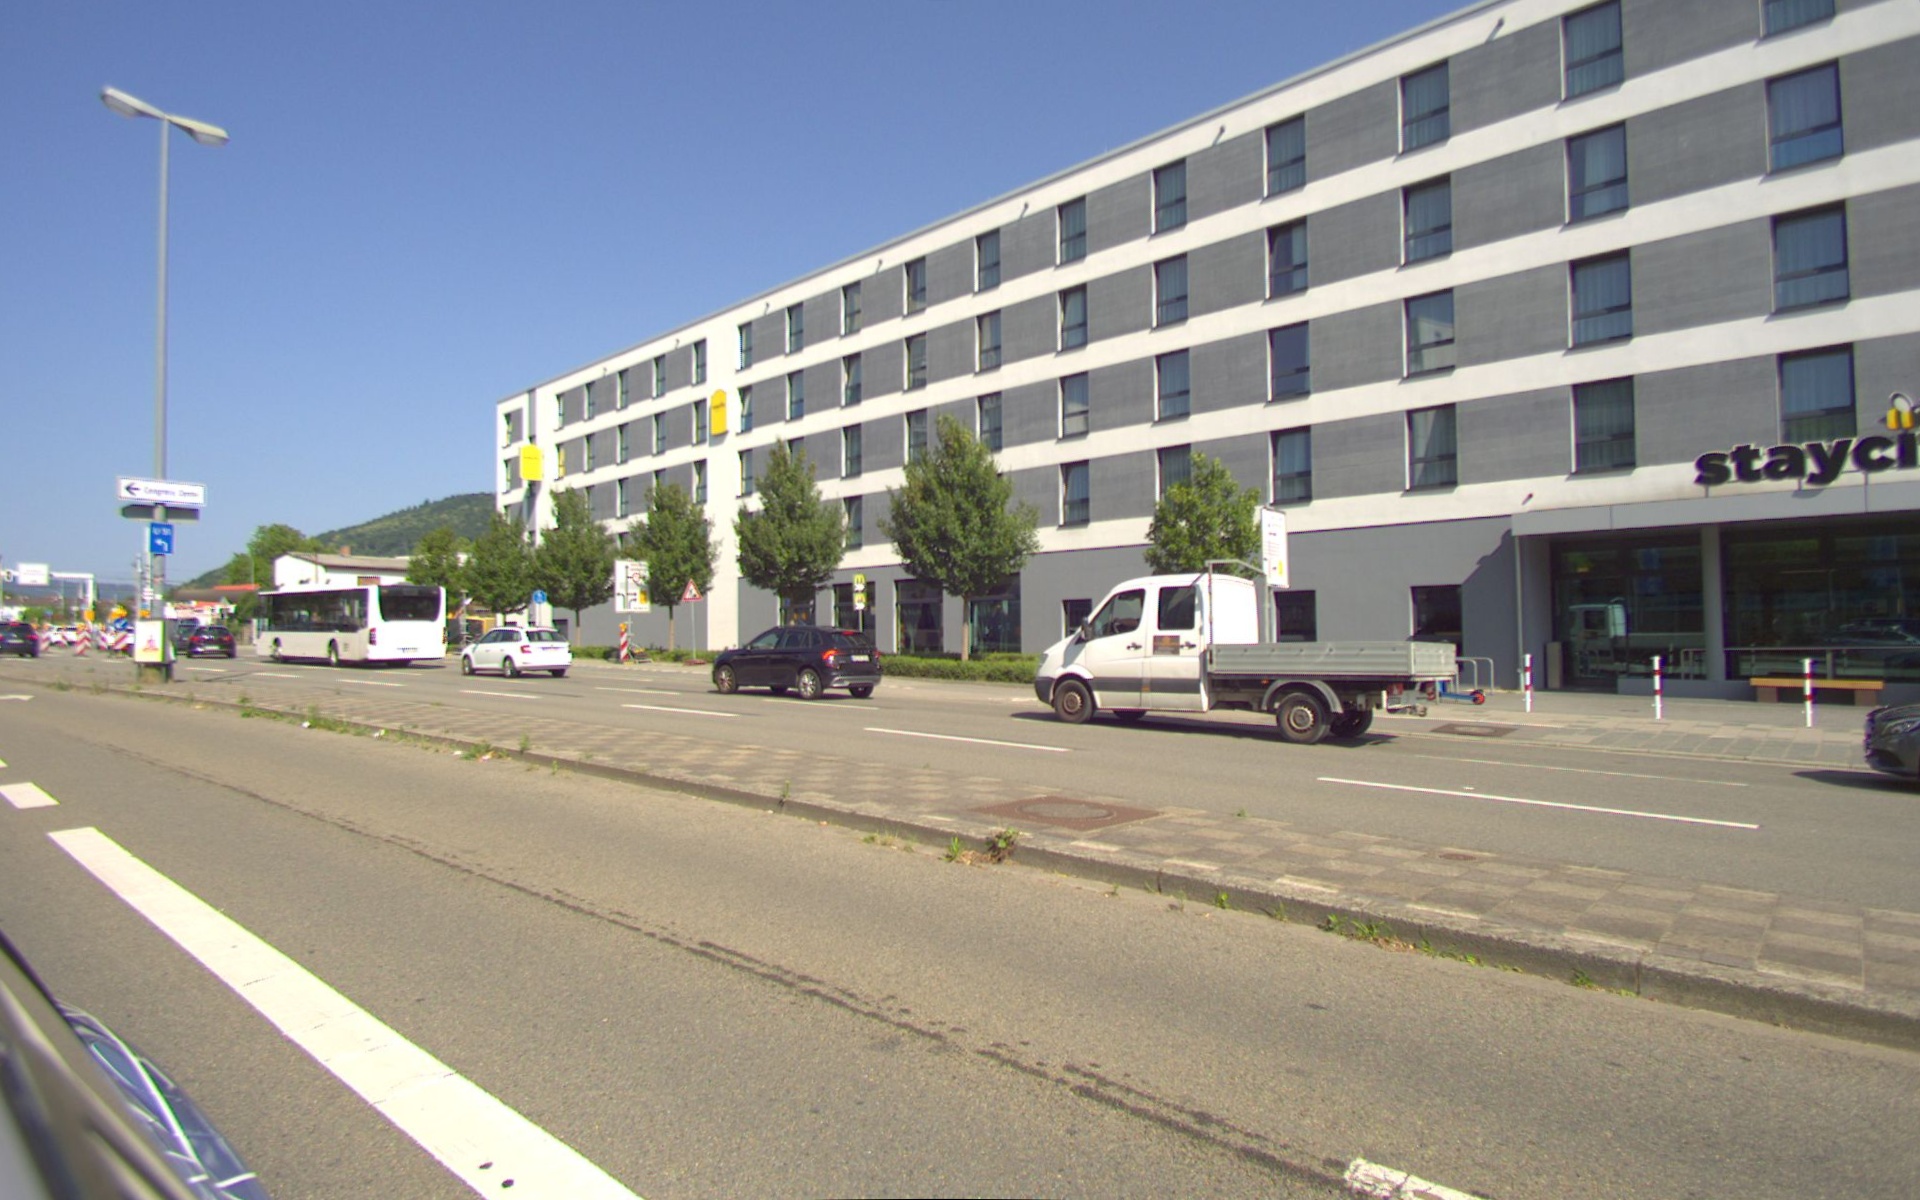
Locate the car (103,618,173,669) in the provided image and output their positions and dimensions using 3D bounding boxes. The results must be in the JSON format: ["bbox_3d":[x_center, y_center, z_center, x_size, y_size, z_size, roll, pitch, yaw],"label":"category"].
[{"bbox_3d":[-35.527,1.820,43.724,4.162,2.029,1.658,0,0,41],"label":"car"}]

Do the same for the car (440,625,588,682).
[{"bbox_3d":[-13.135,1.554,29.743,4.403,1.497,1.976,0,-4,36],"label":"car"}]

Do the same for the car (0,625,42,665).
[{"bbox_3d":[-40.767,1.900,43.288,4.135,1.630,1.864,-2,-2,43],"label":"car"}]

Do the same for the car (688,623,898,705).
[{"bbox_3d":[-3.690,1.344,22.055,4.404,1.590,1.976,-1,-4,36],"label":"car"}]

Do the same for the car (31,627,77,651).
[{"bbox_3d":[-64.136,2.764,71.640,3.584,1.631,1.699,-1,-1,36],"label":"car"}]

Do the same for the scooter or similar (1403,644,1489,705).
[{"bbox_3d":[9.687,1.470,20.194,1.518,1.121,0.347,0,-1,44],"label":"scooter or similar"}]

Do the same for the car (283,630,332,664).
[{"bbox_3d":[-25.197,1.792,39.069,2.219,1.216,1.044,0,0,42],"label":"car"}]

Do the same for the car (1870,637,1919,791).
[{"bbox_3d":[11.113,1.074,8.892,4.585,1.438,1.934,-1,-3,42],"label":"car"}]

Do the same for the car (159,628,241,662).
[{"bbox_3d":[-34.518,1.988,45.925,4.887,1.443,1.973,-1,-2,40],"label":"car"}]

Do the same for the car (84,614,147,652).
[{"bbox_3d":[-51.293,2.040,61.461,3.993,2.029,1.976,-4,-1,37],"label":"car"}]

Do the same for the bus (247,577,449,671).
[{"bbox_3d":[-23.309,0.941,38.103,11.966,3.102,2.710,-1,-4,40],"label":"bus"}]

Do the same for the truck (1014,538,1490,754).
[{"bbox_3d":[4.045,0.651,15.043,6.434,2.565,2.332,-1,-3,41],"label":"truck"}]
